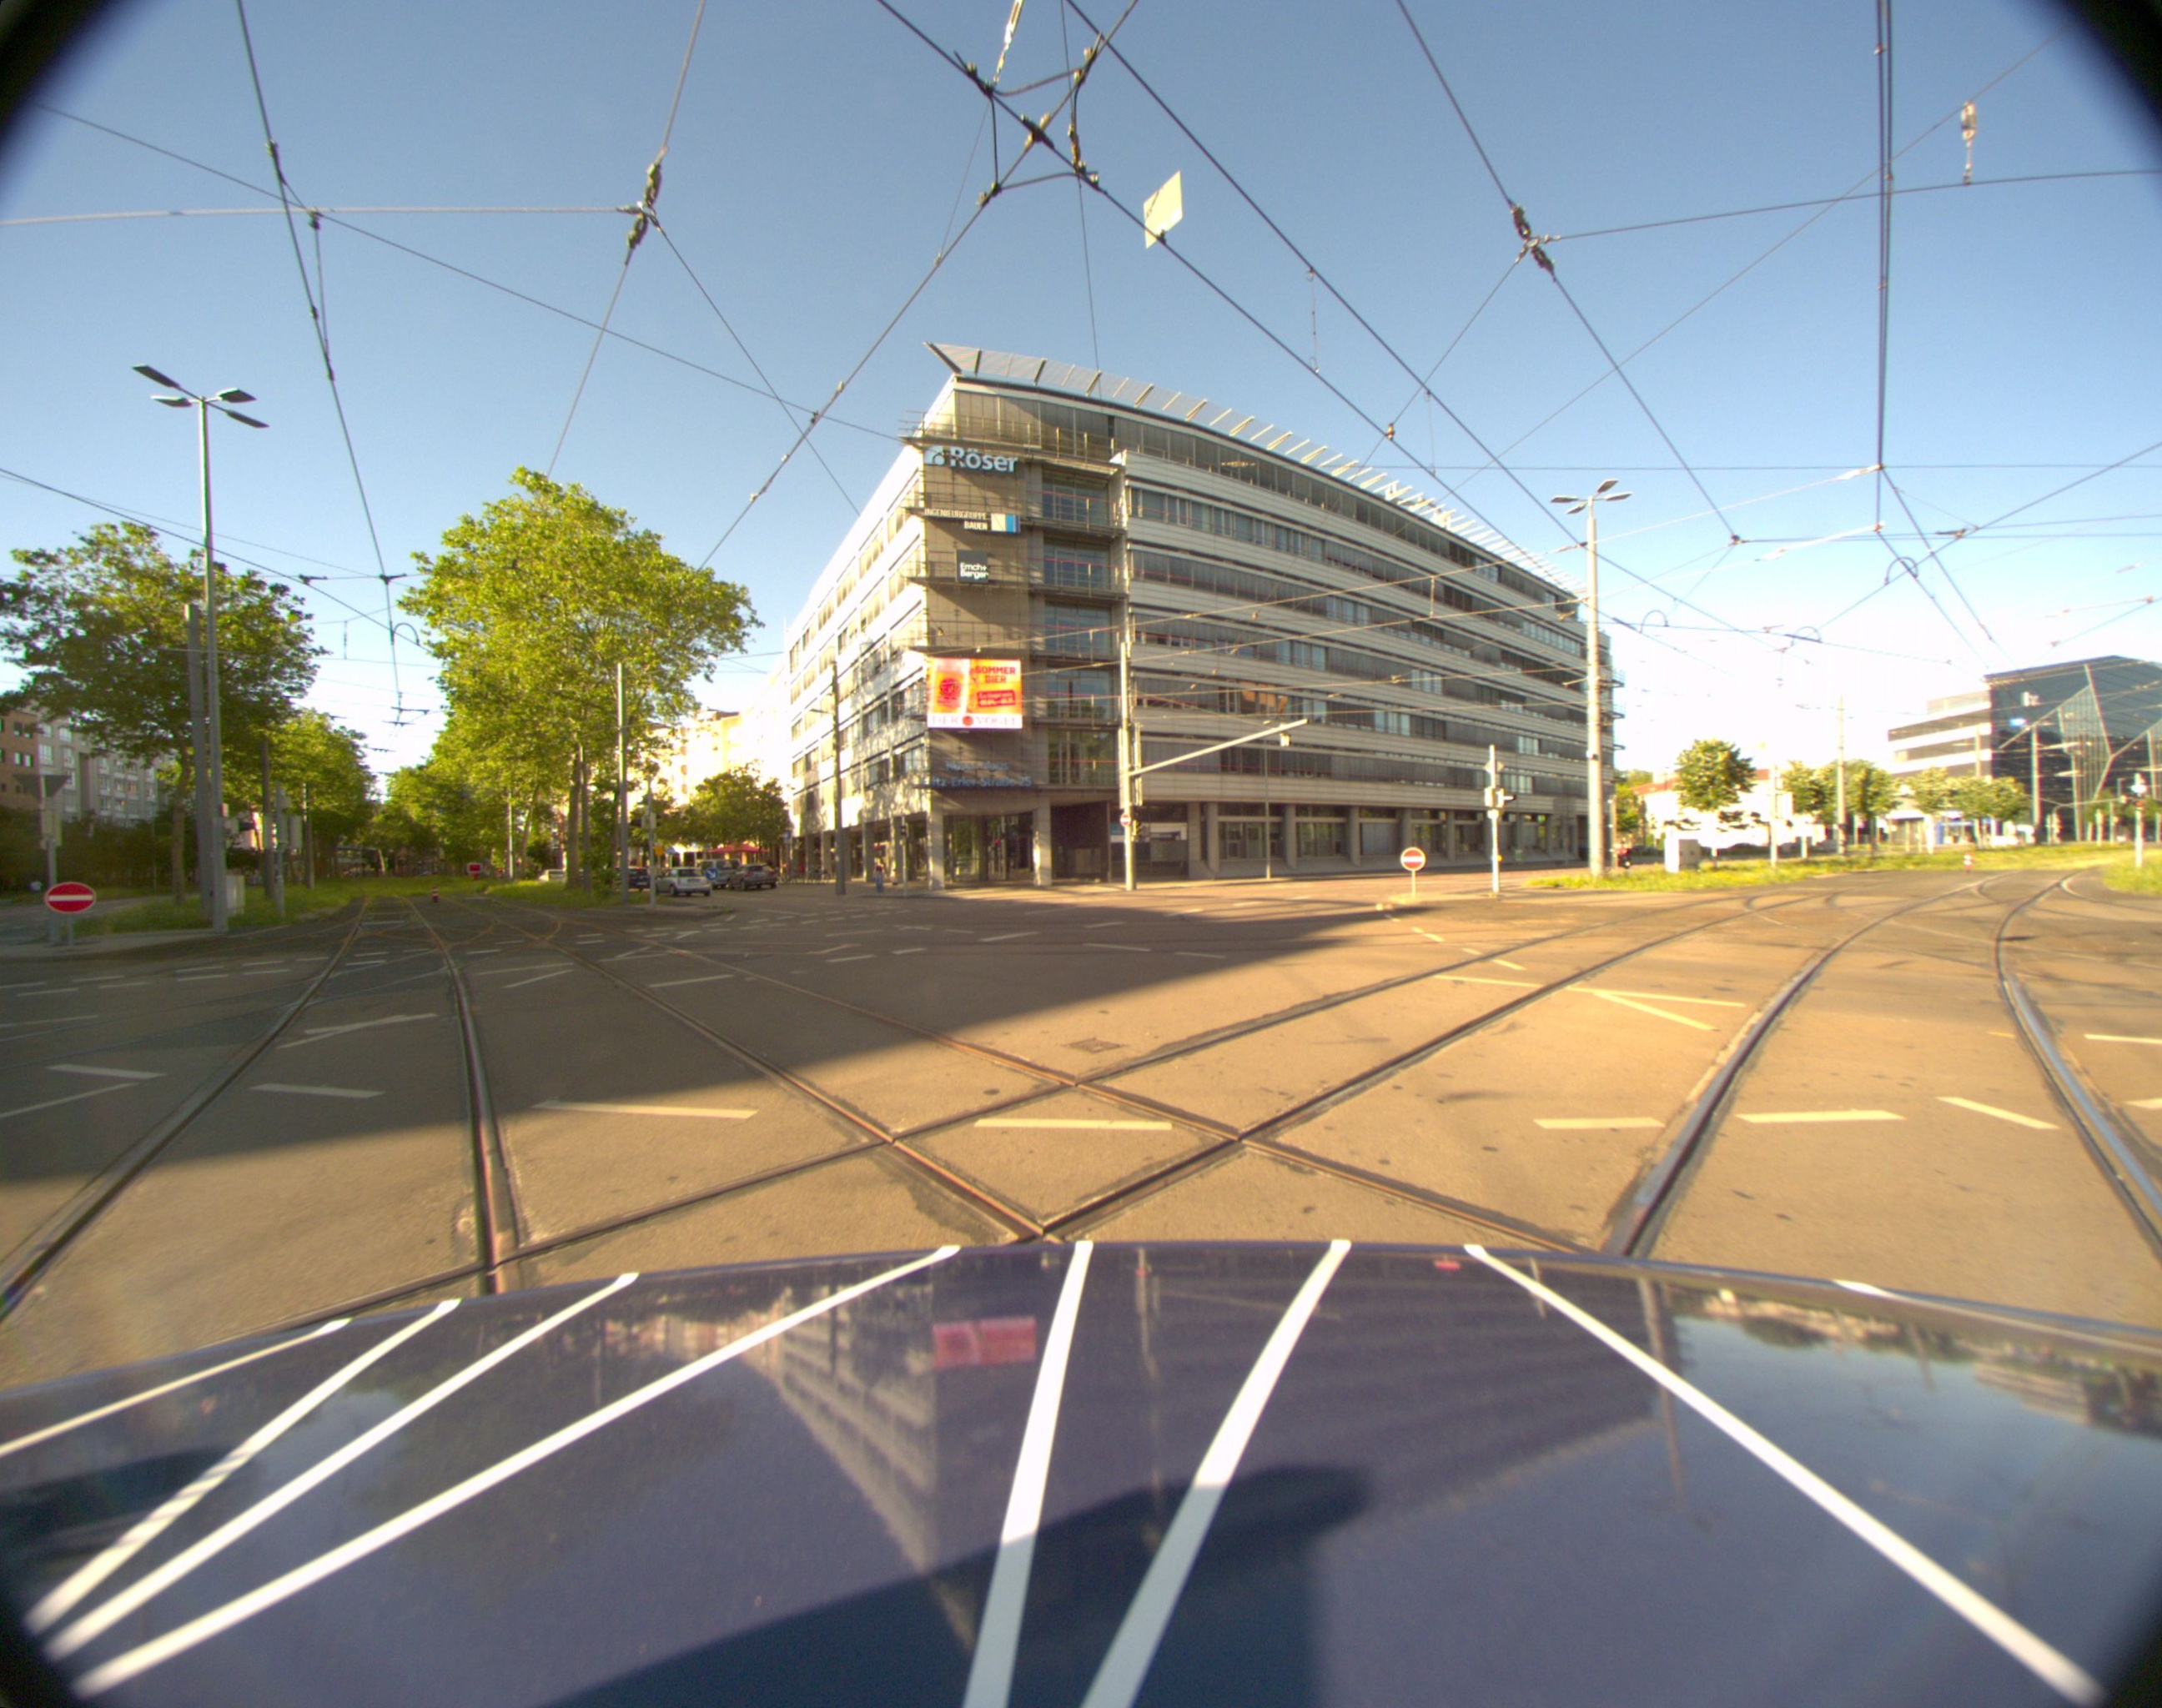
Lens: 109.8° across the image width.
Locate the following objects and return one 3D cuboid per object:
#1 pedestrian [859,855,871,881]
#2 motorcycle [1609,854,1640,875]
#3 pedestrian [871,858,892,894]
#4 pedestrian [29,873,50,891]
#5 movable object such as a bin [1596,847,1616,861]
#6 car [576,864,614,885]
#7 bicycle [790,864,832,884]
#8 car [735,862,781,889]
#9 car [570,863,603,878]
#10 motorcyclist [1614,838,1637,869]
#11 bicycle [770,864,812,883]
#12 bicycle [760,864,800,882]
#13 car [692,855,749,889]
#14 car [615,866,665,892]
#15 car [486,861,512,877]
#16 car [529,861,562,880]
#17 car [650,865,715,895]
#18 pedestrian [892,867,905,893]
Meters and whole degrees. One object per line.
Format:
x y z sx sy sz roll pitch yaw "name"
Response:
-14.373 0.927 50.501 0.587 1.723 0.792 -2 -1 -25 "pedestrian"
32.959 0.630 46.056 2.259 1.214 0.819 -1 1 -36 "motorcycle"
-9.354 1.018 35.579 0.662 1.630 0.791 -1 0 -36 "pedestrian"
-81.857 2.233 59.714 0.814 1.376 0.685 -1 1 -41 "pedestrian"
50.667 -0.020 73.347 1.331 1.293 1.171 -1 0 -33 "movable object such as a bin"
-36.432 1.541 56.917 1.704 1.432 4.008 -2 0 -43 "car"
-16.955 1.232 47.713 2.398 1.206 0.773 0 -1 -30 "bicycle"
-18.817 1.201 44.129 1.870 1.466 3.968 -1 0 -31 "car"
-51.056 1.704 78.443 3.966 1.466 1.871 -1 0 41 "car"
32.999 -0.066 46.073 1.114 1.847 0.819 -1 2 -36 "motorcyclist"
-18.442 1.223 48.402 0.773 1.206 2.400 -1 -1 40 "bicycle"
-20.151 1.269 50.949 0.773 1.206 2.400 -1 -1 40 "bicycle"
-22.808 1.096 48.010 1.871 2.004 4.445 -1 0 -44 "car"
-26.772 1.468 46.075 1.871 1.466 3.966 -1 0 -41 "car"
-69.572 1.840 90.787 4.304 1.758 1.827 -3 -1 44 "car"
-45.424 1.394 64.417 1.704 1.466 3.970 -1 0 -44 "car"
-18.952 1.210 36.095 3.526 1.380 1.670 -1 -1 44 "car"
-8.560 1.220 35.581 0.444 1.203 0.461 -1 0 -36 "pedestrian"
